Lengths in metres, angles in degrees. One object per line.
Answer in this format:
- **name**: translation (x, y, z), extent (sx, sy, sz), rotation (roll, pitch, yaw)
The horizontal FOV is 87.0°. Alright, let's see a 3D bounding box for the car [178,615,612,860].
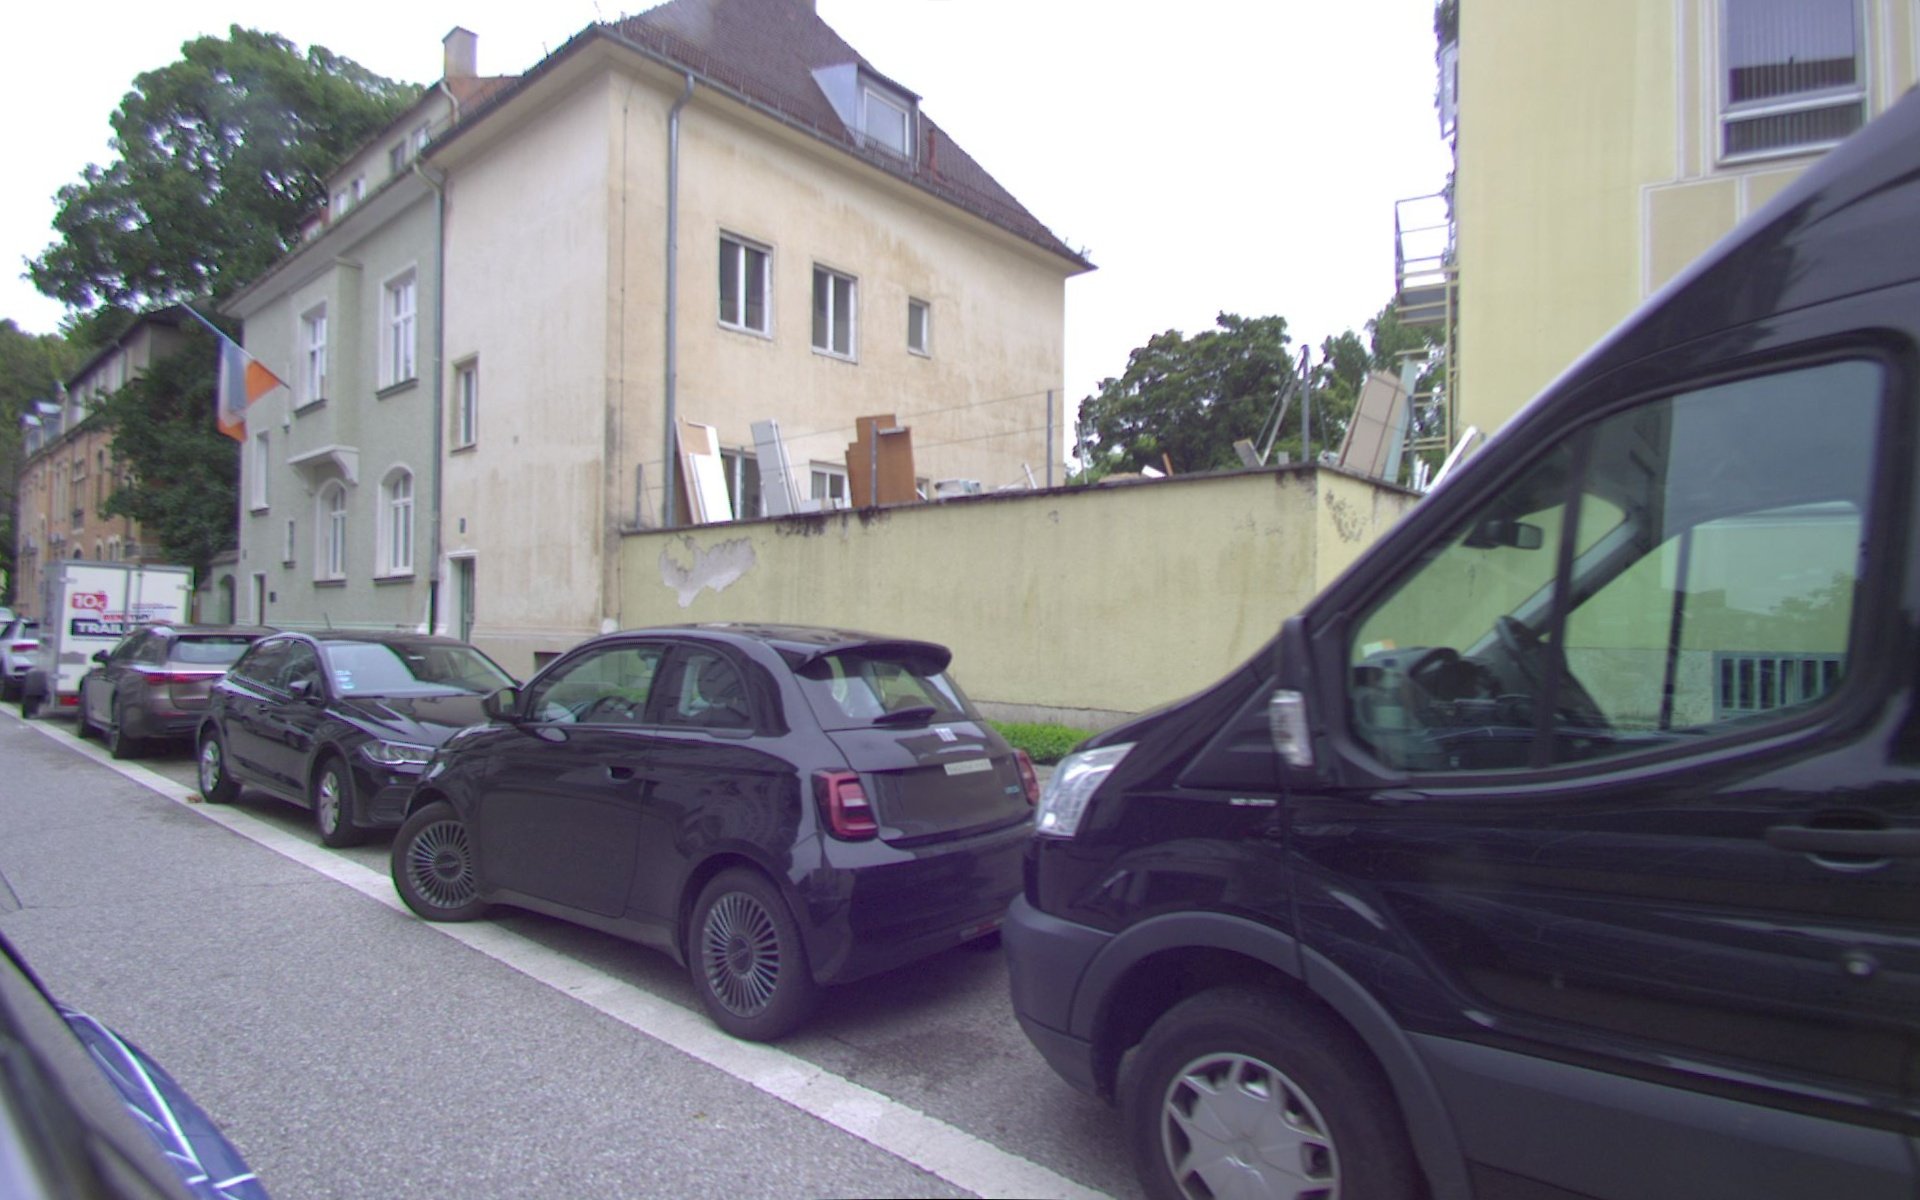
- **car**: translation (-4.592, 0.866, 8.021), extent (3.820, 1.457, 1.684), rotation (-1, 0, 38)

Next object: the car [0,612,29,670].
- **car**: translation (-26.096, 1.091, 26.932), extent (3.310, 1.478, 1.458), rotation (-2, -3, 39)

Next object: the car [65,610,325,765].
- **car**: translation (-9.445, 0.951, 12.344), extent (4.541, 1.550, 1.747), rotation (-2, -3, 43)

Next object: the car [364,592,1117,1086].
- **car**: translation (-1.195, 0.805, 4.891), extent (3.536, 1.550, 1.571), rotation (-1, -4, 36)

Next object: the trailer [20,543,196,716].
- **trailer**: translation (-14.067, 0.519, 16.623), extent (4.387, 2.480, 1.690), rotation (-2, -4, 44)

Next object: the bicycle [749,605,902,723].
- **bicycle**: translation (-1.524, 0.682, 11.251), extent (1.777, 1.201, 0.670), rotation (-2, -1, 42)

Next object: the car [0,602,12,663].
- **car**: translation (-30.688, 1.019, 31.152), extent (4.141, 1.817, 1.673), rotation (-2, -3, 40)

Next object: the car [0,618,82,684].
- **car**: translation (-22.047, 1.142, 23.394), extent (4.328, 1.423, 1.843), rotation (-1, -3, 38)

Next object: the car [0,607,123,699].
- **car**: translation (-17.819, 0.977, 19.688), extent (3.918, 1.615, 1.669), rotation (-1, -3, 40)

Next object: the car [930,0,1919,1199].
- **car**: translation (2.612, 0.205, 1.819), extent (5.375, 2.656, 2.066), rotation (-3, -2, 42)
